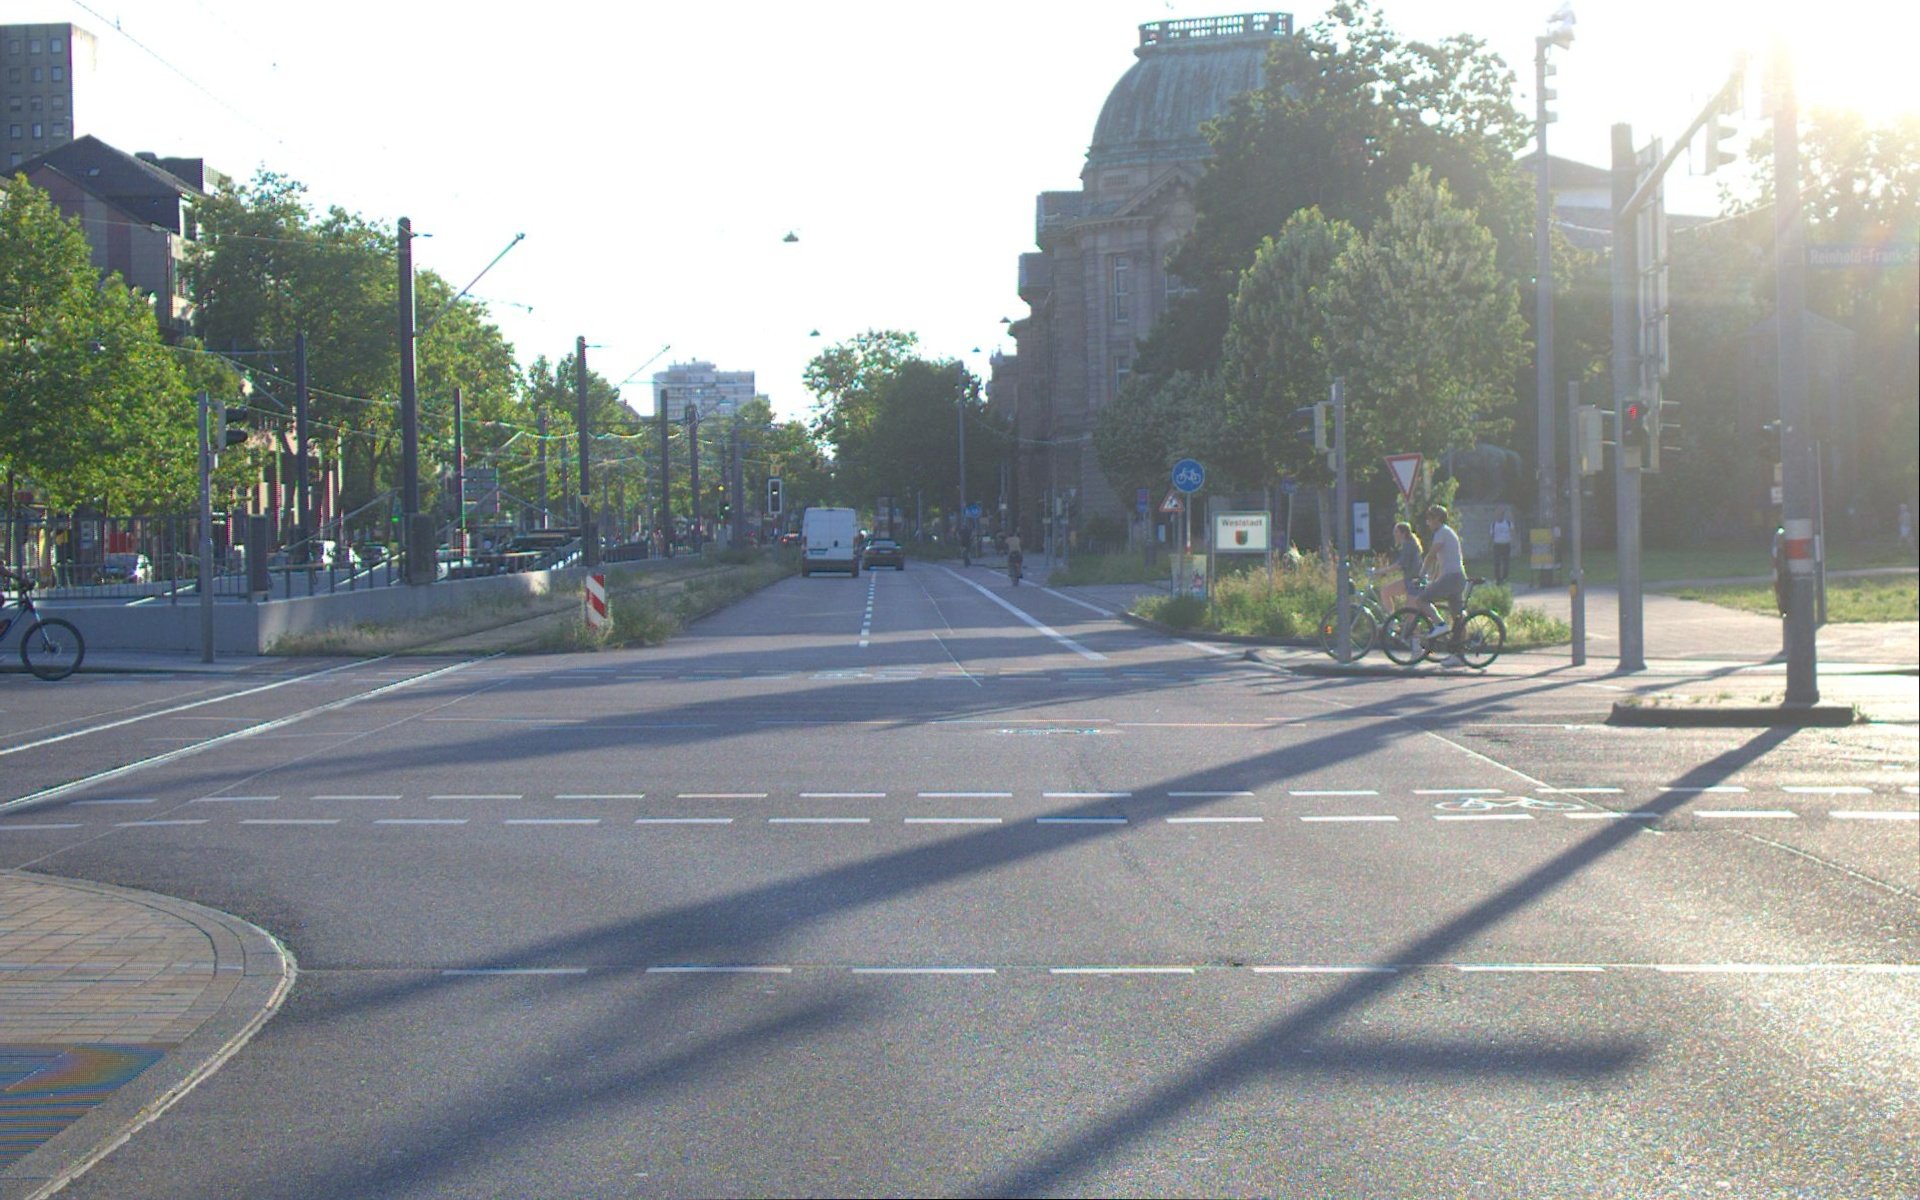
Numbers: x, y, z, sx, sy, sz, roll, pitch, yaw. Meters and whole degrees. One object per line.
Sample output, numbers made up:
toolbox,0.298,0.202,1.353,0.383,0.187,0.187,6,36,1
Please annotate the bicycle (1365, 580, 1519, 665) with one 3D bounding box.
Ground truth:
bicycle,5.733,0.258,40.902,1.730,0.966,0.609,1,2,21

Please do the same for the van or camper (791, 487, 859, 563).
van or camper,-4.881,-2.743,124.643,2.263,2.616,4.503,-1,2,0

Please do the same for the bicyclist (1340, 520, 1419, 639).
bicyclist,5.223,-0.264,42.805,0.853,1.437,0.663,-1,2,-2

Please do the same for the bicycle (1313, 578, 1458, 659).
bicycle,5.300,0.226,42.823,1.718,0.966,0.609,0,2,-2

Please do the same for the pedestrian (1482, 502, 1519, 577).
pedestrian,11.873,-1.330,75.582,0.682,1.605,0.613,-1,2,-1

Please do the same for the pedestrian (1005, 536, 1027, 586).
pedestrian,1.686,-1.173,103.420,0.616,1.470,0.800,-1,2,3

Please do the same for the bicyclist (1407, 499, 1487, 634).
bicyclist,5.785,-0.401,40.848,0.798,1.566,0.662,0,2,20

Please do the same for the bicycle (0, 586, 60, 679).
bicycle,-10.770,0.344,37.614,1.728,0.966,0.704,1,3,-18

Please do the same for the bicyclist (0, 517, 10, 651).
bicyclist,-10.853,-0.184,37.582,0.853,1.437,0.663,0,2,-18

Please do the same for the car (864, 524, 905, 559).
car,-3.327,-2.595,151.256,1.737,1.381,4.001,-1,2,-1
